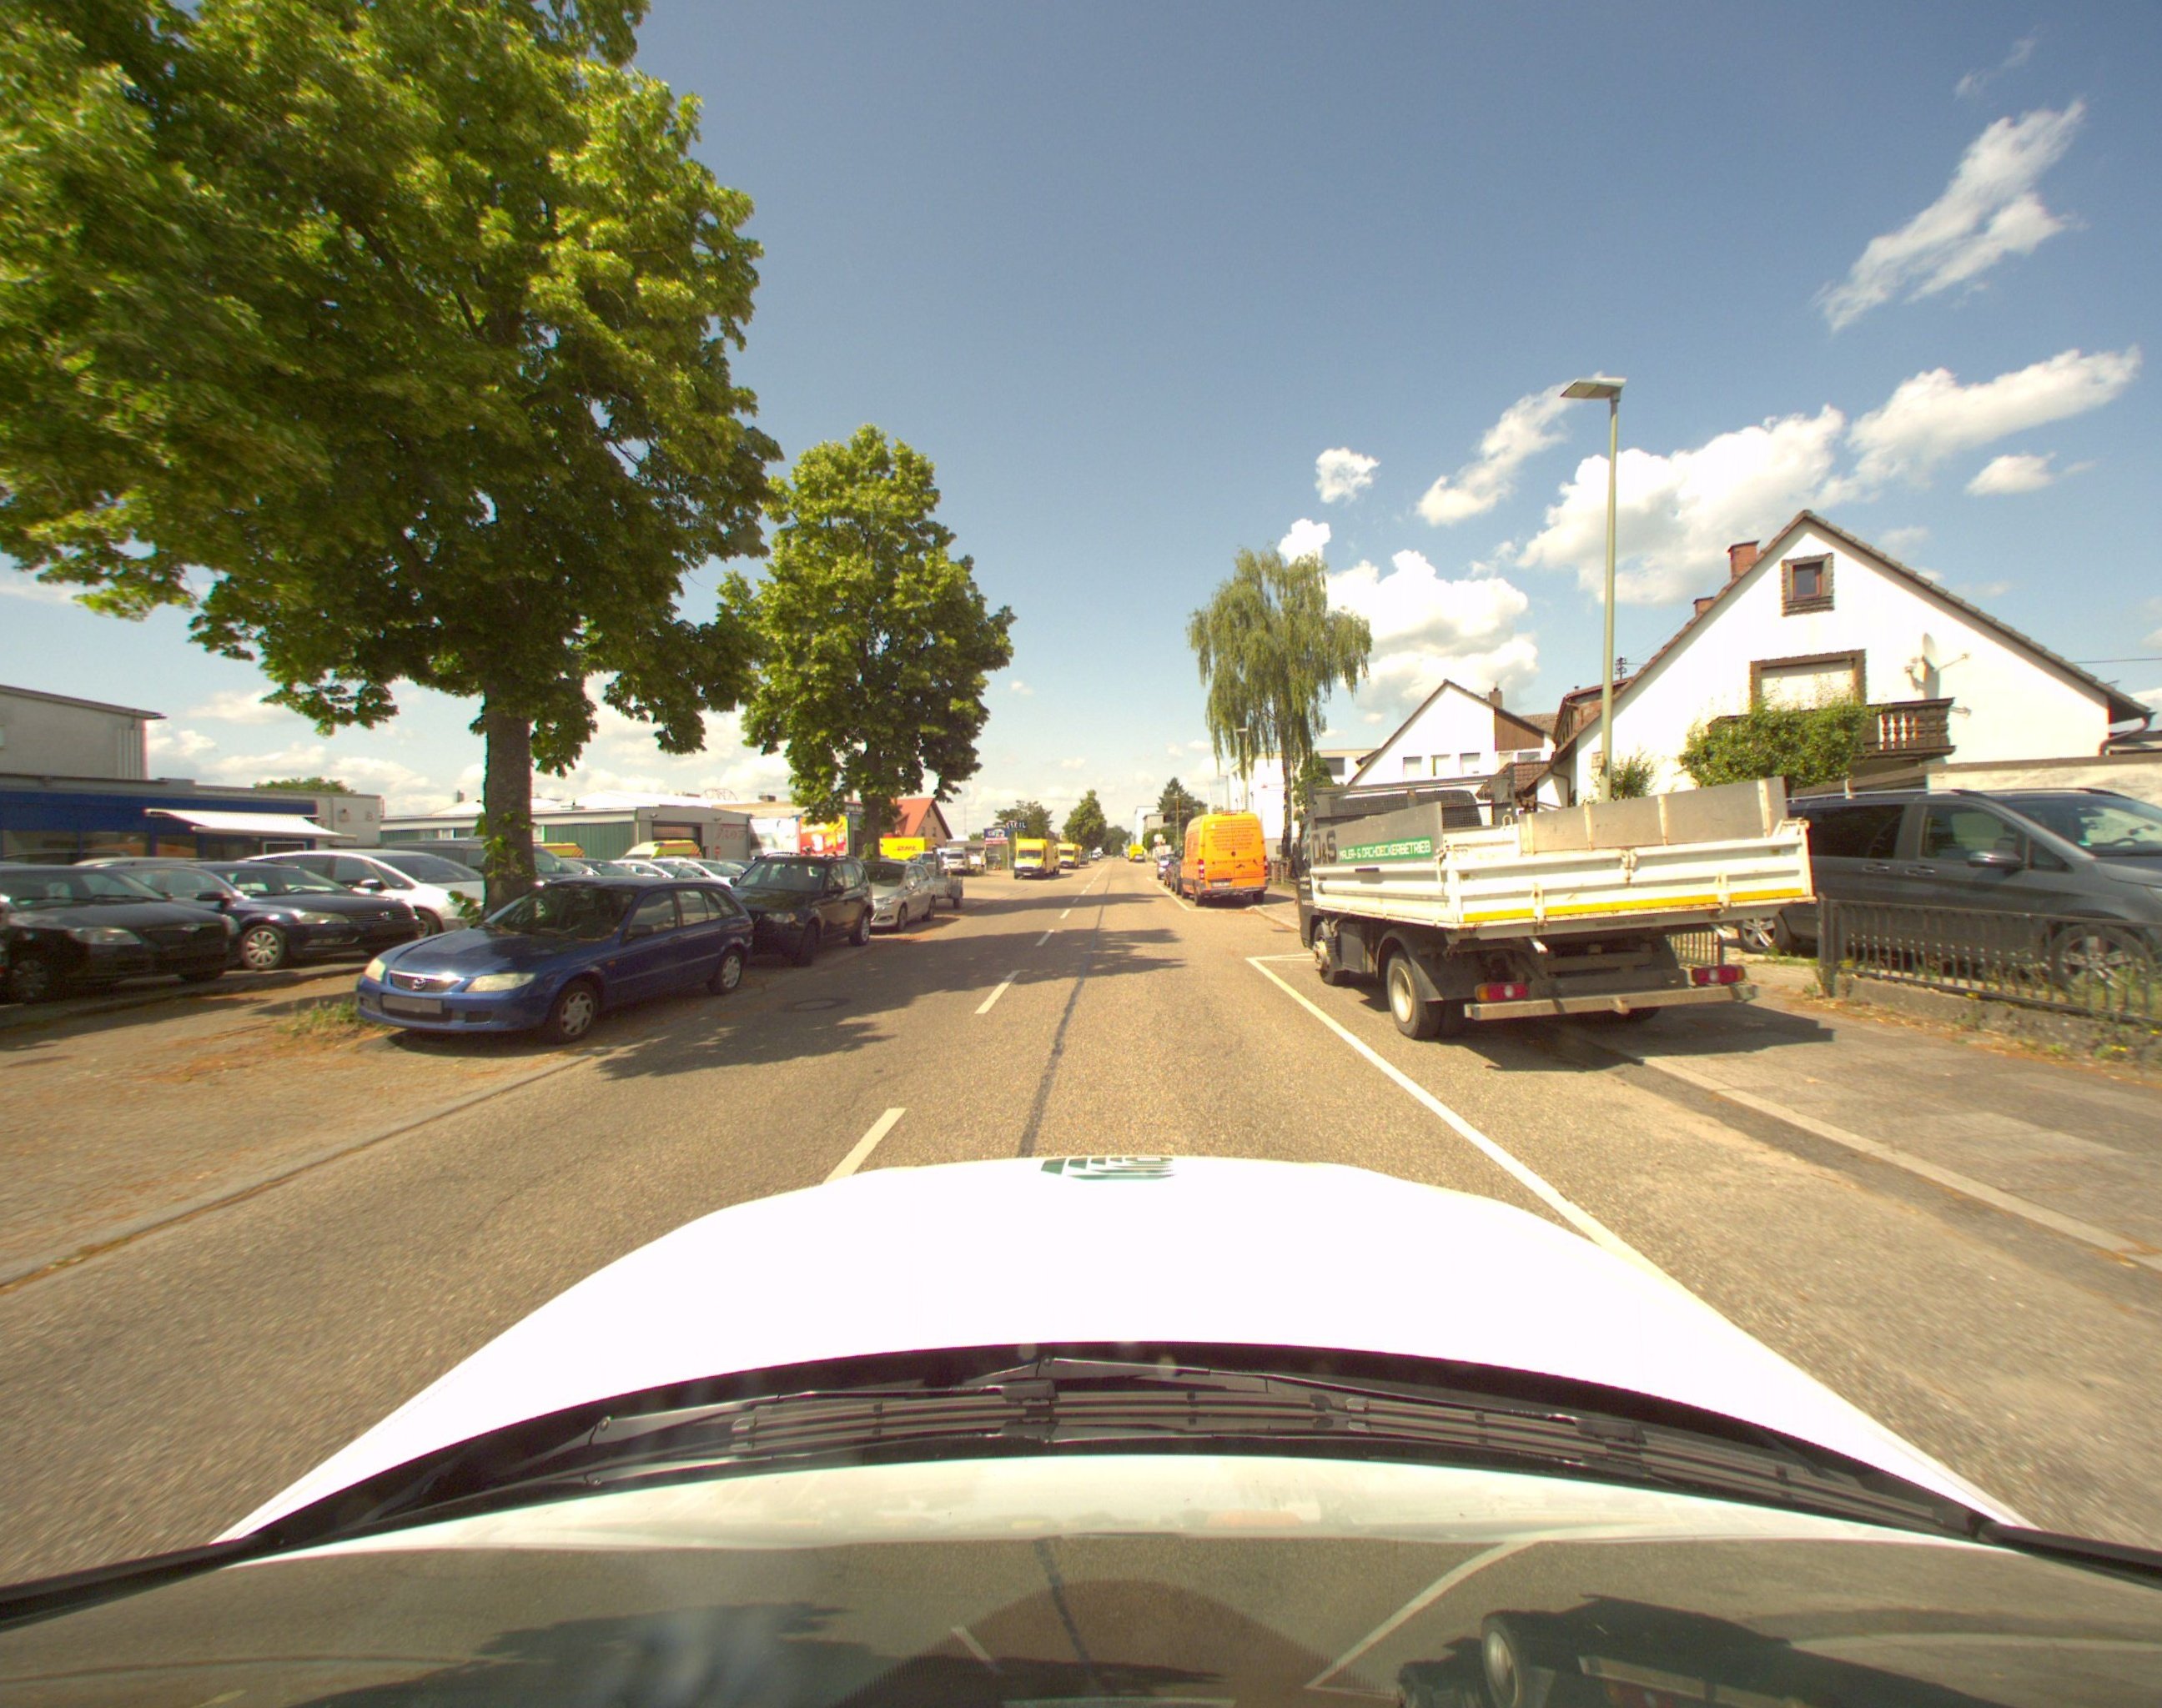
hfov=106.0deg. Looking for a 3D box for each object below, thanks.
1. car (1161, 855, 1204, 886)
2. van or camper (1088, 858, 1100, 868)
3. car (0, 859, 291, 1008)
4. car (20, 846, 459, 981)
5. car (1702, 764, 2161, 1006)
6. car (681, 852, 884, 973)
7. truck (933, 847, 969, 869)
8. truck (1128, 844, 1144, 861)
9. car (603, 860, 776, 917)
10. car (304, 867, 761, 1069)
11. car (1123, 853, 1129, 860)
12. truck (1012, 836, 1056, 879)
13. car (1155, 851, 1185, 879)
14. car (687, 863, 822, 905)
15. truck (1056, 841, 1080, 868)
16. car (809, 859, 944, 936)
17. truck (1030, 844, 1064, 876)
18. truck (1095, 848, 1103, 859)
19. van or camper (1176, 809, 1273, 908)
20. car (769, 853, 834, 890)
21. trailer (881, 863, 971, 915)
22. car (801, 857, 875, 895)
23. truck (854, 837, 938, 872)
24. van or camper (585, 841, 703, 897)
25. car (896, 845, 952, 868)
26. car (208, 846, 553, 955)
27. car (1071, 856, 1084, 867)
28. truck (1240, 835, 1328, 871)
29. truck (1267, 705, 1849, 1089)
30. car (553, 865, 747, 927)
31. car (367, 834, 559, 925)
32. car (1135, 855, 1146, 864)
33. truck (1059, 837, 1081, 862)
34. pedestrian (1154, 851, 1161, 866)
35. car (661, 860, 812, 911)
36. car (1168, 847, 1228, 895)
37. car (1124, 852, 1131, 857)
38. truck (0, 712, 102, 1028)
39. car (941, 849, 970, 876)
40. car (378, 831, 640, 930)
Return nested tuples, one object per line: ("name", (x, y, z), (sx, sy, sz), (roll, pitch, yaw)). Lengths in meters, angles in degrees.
("car", (4.727, 0.746, 38.400), (1.662, 1.335, 4.440), (-1, 0, 2))
("van or camper", (3.192, 2.181, 201.334), (2.163, 2.413, 7.709), (-1, 0, 6))
("car", (-11.953, 0.894, 9.368), (4.178, 1.459, 1.680), (-3, 1, 4))
("car", (-11.860, 0.791, 11.670), (4.504, 1.582, 1.829), (-3, 1, 4))
("car", (9.190, 0.210, 8.234), (1.852, 1.865, 5.016), (-2, 0, -2))
("car", (-4.835, 0.842, 13.950), (1.686, 1.700, 4.402), (1, 0, 2))
("truck", (-16.025, 0.472, 101.046), (2.094, 2.487, 5.745), (-1, 0, 16))
("truck", (9.500, -0.253, 141.105), (2.465, 2.940, 7.190), (0, 0, 1))
("car", (-11.314, 0.977, 23.711), (4.124, 1.490, 1.830), (-2, -1, 5))
("car", (-5.265, 0.941, 8.642), (1.690, 1.483, 4.166), (1, 1, 6))
("car", (14.289, 0.803, 257.765), (1.701, 2.090, 4.002), (-2, 0, 2))
("truck", (-3.241, 0.218, 57.792), (2.210, 2.857, 7.077), (0, 0, 4))
("car", (5.289, 0.633, 48.695), (1.603, 1.580, 4.005), (0, 0, 4))
("car", (-11.494, 1.037, 28.831), (4.005, 1.374, 1.831), (-1, 0, 7))
("truck", (-1.421, 0.103, 91.406), (2.260, 2.855, 7.177), (0, -1, 2))
("car", (-4.678, 0.928, 19.288), (1.825, 1.528, 4.242), (1, 0, 4))
("truck", (-2.692, 0.461, 65.336), (1.985, 2.413, 6.071), (-1, 0, 4))
("truck", (5.456, -0.269, 245.777), (2.021, 3.154, 6.504), (-2, 0, 3))
("van or camper", (4.257, 0.114, 25.164), (1.987, 2.664, 5.770), (-1, 0, 1))
("car", (-13.252, 0.791, 38.809), (1.433, 1.655, 3.310), (-2, 0, 10))
("trailer", (-4.484, 0.974, 24.244), (1.755, 1.289, 4.508), (2, 0, 0))
("car", (-10.767, 0.923, 36.366), (1.746, 1.533, 4.261), (-1, 0, 4))
("truck", (-15.743, -0.005, 69.345), (6.549, 2.850, 2.539), (1, 1, 15))
("van or camper", (-20.912, 0.632, 39.307), (1.981, 2.475, 5.377), (-1, 1, 10))
("car", (-12.568, 0.177, 65.303), (3.902, 1.810, 1.862), (1, 0, 12))
("car", (-11.798, 0.736, 13.935), (4.279, 1.614, 1.828), (-2, 1, 1))
("car", (-0.456, 1.098, 119.354), (1.718, 1.604, 4.414), (2, 0, 1))
("truck", (15.119, -0.098, 60.758), (6.067, 2.577, 2.546), (-1, 0, -24))
("truck", (3.733, 0.277, 8.205), (2.512, 2.299, 5.900), (-4, 0, 3))
("car", (-11.278, 1.082, 21.469), (4.124, 1.431, 1.830), (-2, -1, 5))
("car", (-15.274, 0.567, 20.447), (1.705, 2.013, 3.999), (-2, 0, 0))
("car", (9.425, 0.842, 129.513), (1.645, 1.386, 4.426), (0, 1, 3))
("truck", (-1.273, -0.537, 101.003), (2.307, 2.862, 7.108), (1, 0, 2))
("pedestrian", (9.659, 0.569, 102.761), (0.714, 1.697, 0.522), (-7, 0, -2))
("car", (-10.975, 0.987, 26.074), (4.007, 1.490, 1.830), (-2, -1, 5))
("car", (4.384, 0.603, 31.122), (1.825, 1.640, 4.242), (-1, 0, 2))
("car", (13.419, 0.171, 233.519), (1.920, 1.310, 4.003), (-2, 0, 2))
("truck", (-14.427, 0.305, 7.163), (9.209, 2.856, 2.726), (-2, 0, 6))
("car", (-9.153, 0.583, 59.561), (1.826, 1.705, 4.698), (-2, 2, -6))
("car", (-11.616, 0.532, 16.712), (4.124, 1.788, 1.830), (-2, -1, 5))
